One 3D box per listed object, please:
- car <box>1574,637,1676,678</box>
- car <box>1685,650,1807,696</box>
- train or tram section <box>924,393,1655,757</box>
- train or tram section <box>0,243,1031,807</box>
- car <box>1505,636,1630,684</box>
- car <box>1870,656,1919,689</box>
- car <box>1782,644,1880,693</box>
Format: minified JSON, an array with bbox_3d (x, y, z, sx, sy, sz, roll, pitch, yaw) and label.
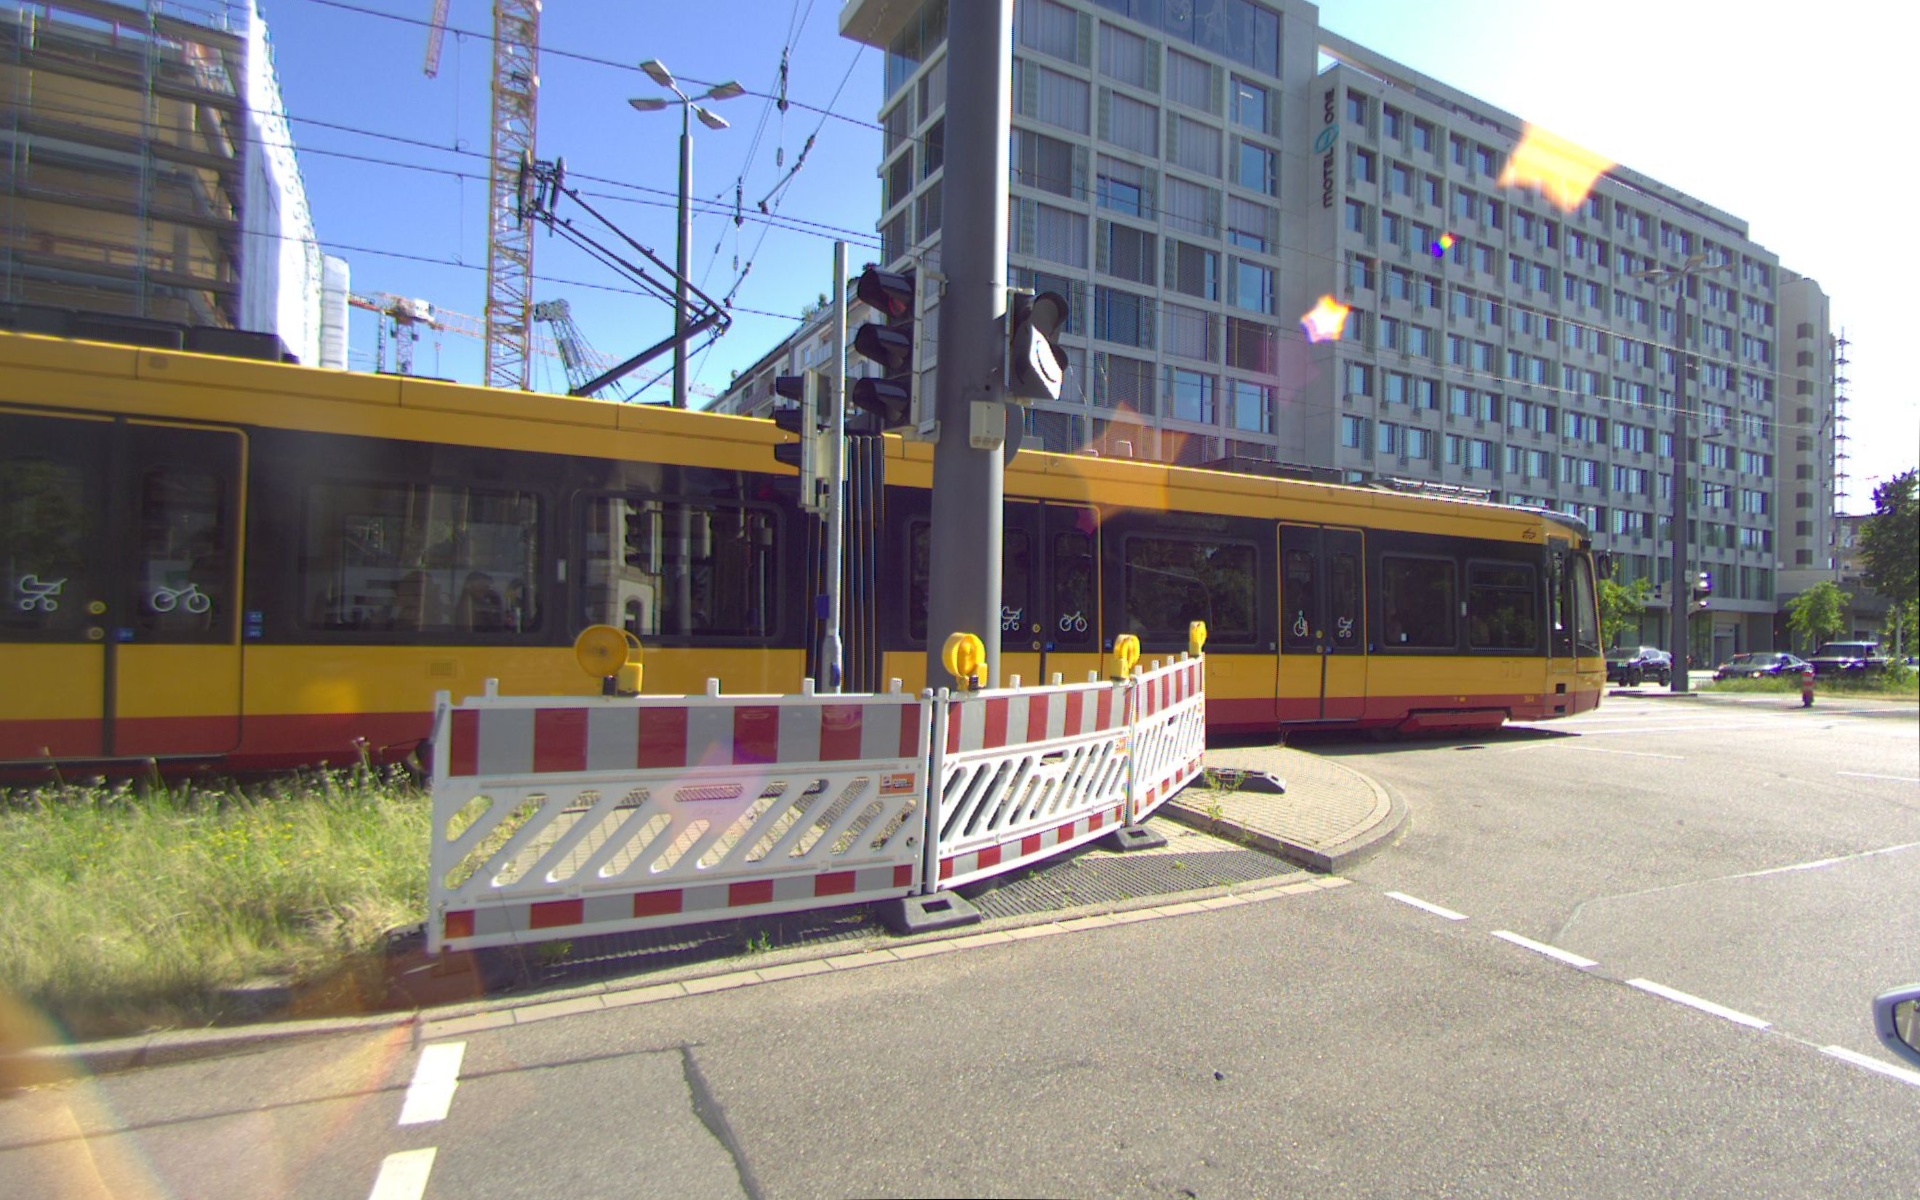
[{"bbox_3d":[28.382,2.458,42.837,3.951,1.572,1.985,3,-1,-28],"label":"car"},{"bbox_3d":[29.811,2.771,38.103,3.944,1.572,1.989,3,-1,-23],"label":"car"},{"bbox_3d":[5.186,-0.013,13.792,11.536,3.717,1.986,3,-1,-28],"label":"train or tram section"},{"bbox_3d":[-4.724,-0.394,8.584,11.173,3.717,1.986,3,-1,-28],"label":"train or tram section"},{"bbox_3d":[22.173,2.171,36.663,3.944,1.572,1.989,3,-1,-23],"label":"car"},{"bbox_3d":[49.866,3.813,52.668,3.951,1.572,1.985,3,-1,-28],"label":"car"},{"bbox_3d":[35.883,2.814,41.366,4.241,1.843,1.981,3,-1,-34],"label":"car"}]
